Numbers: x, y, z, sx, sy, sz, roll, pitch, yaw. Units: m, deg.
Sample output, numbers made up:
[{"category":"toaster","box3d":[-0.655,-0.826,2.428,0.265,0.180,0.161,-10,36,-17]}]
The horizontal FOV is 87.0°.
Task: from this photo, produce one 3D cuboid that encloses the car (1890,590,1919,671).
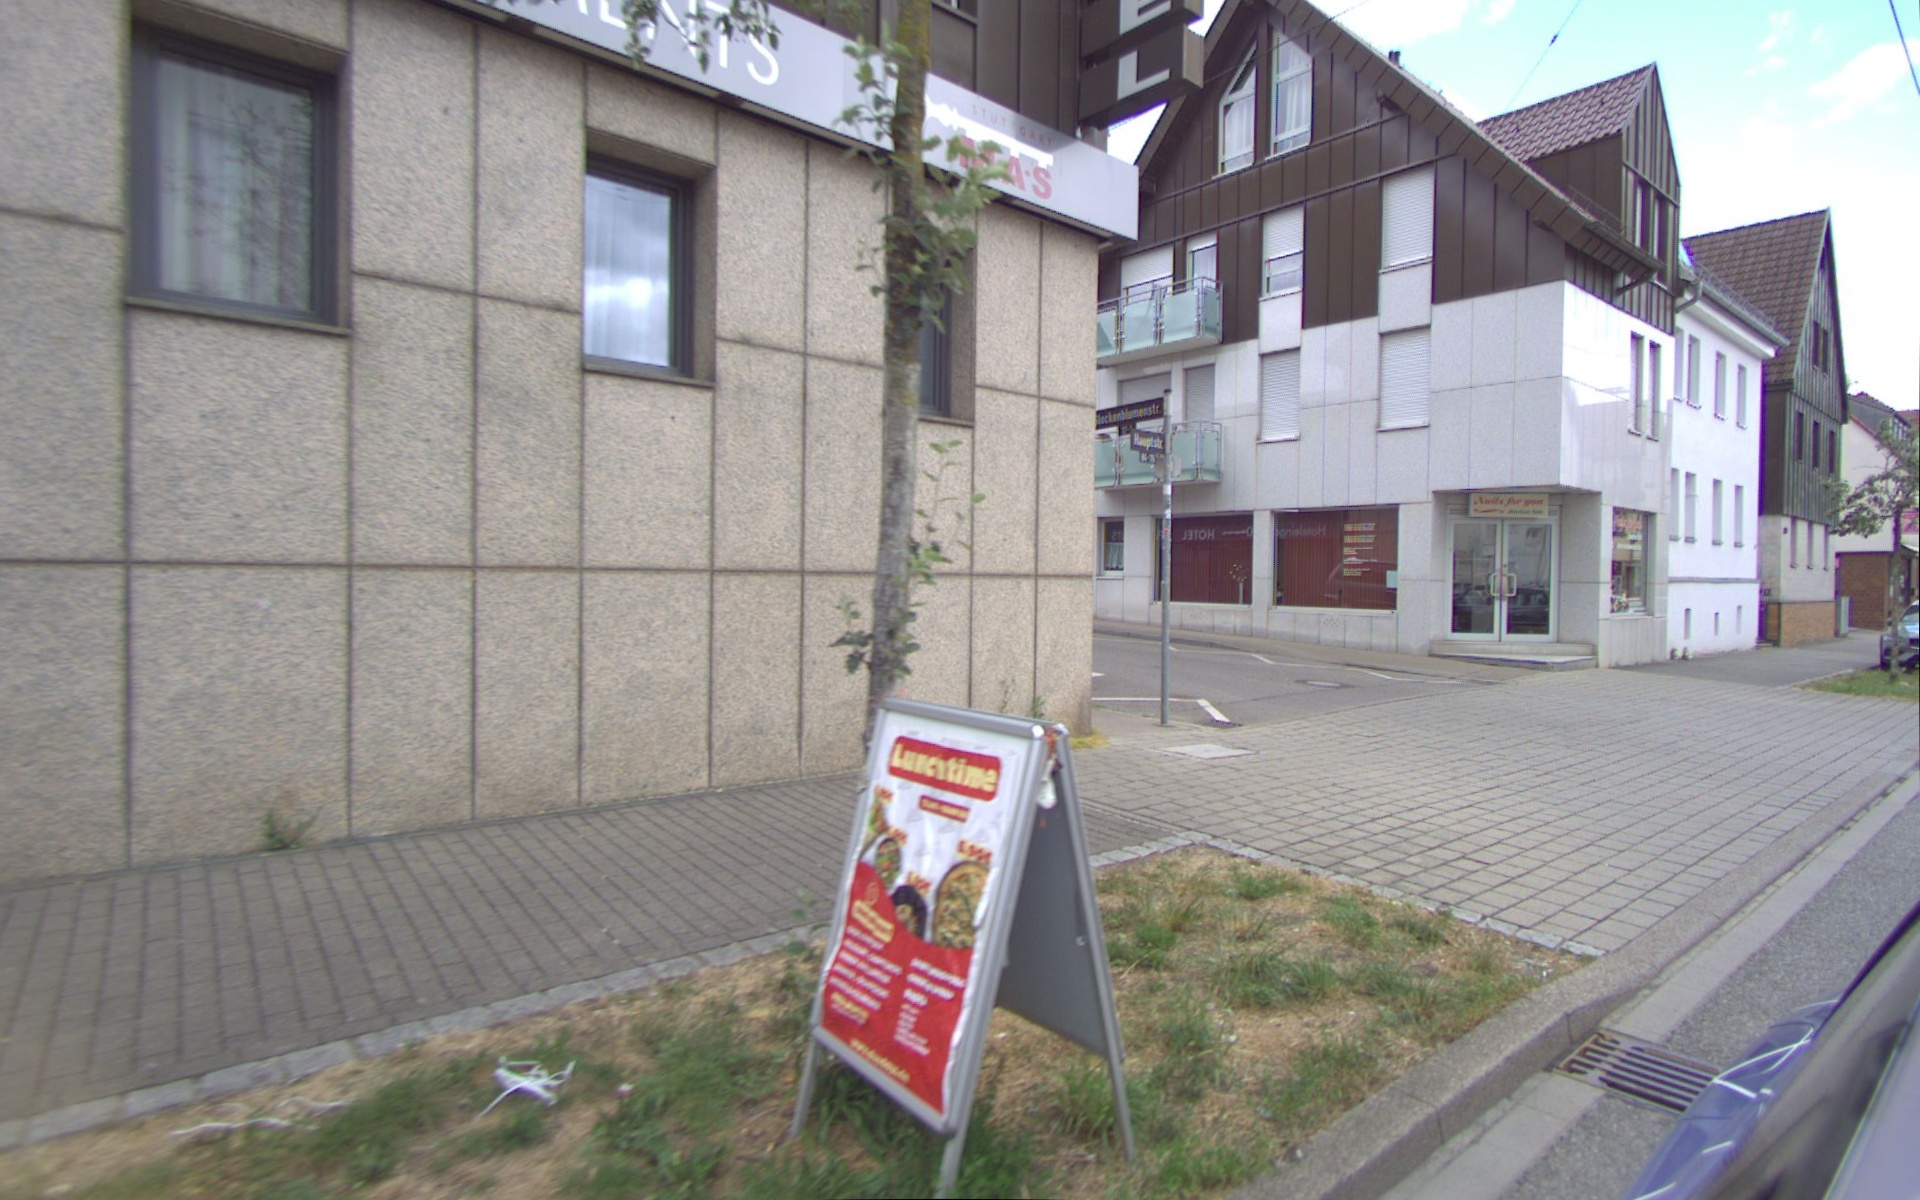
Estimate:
[{"category":"car","box3d":[20.613,0.578,20.696,4.434,1.558,1.879,-1,1,-41]}]
